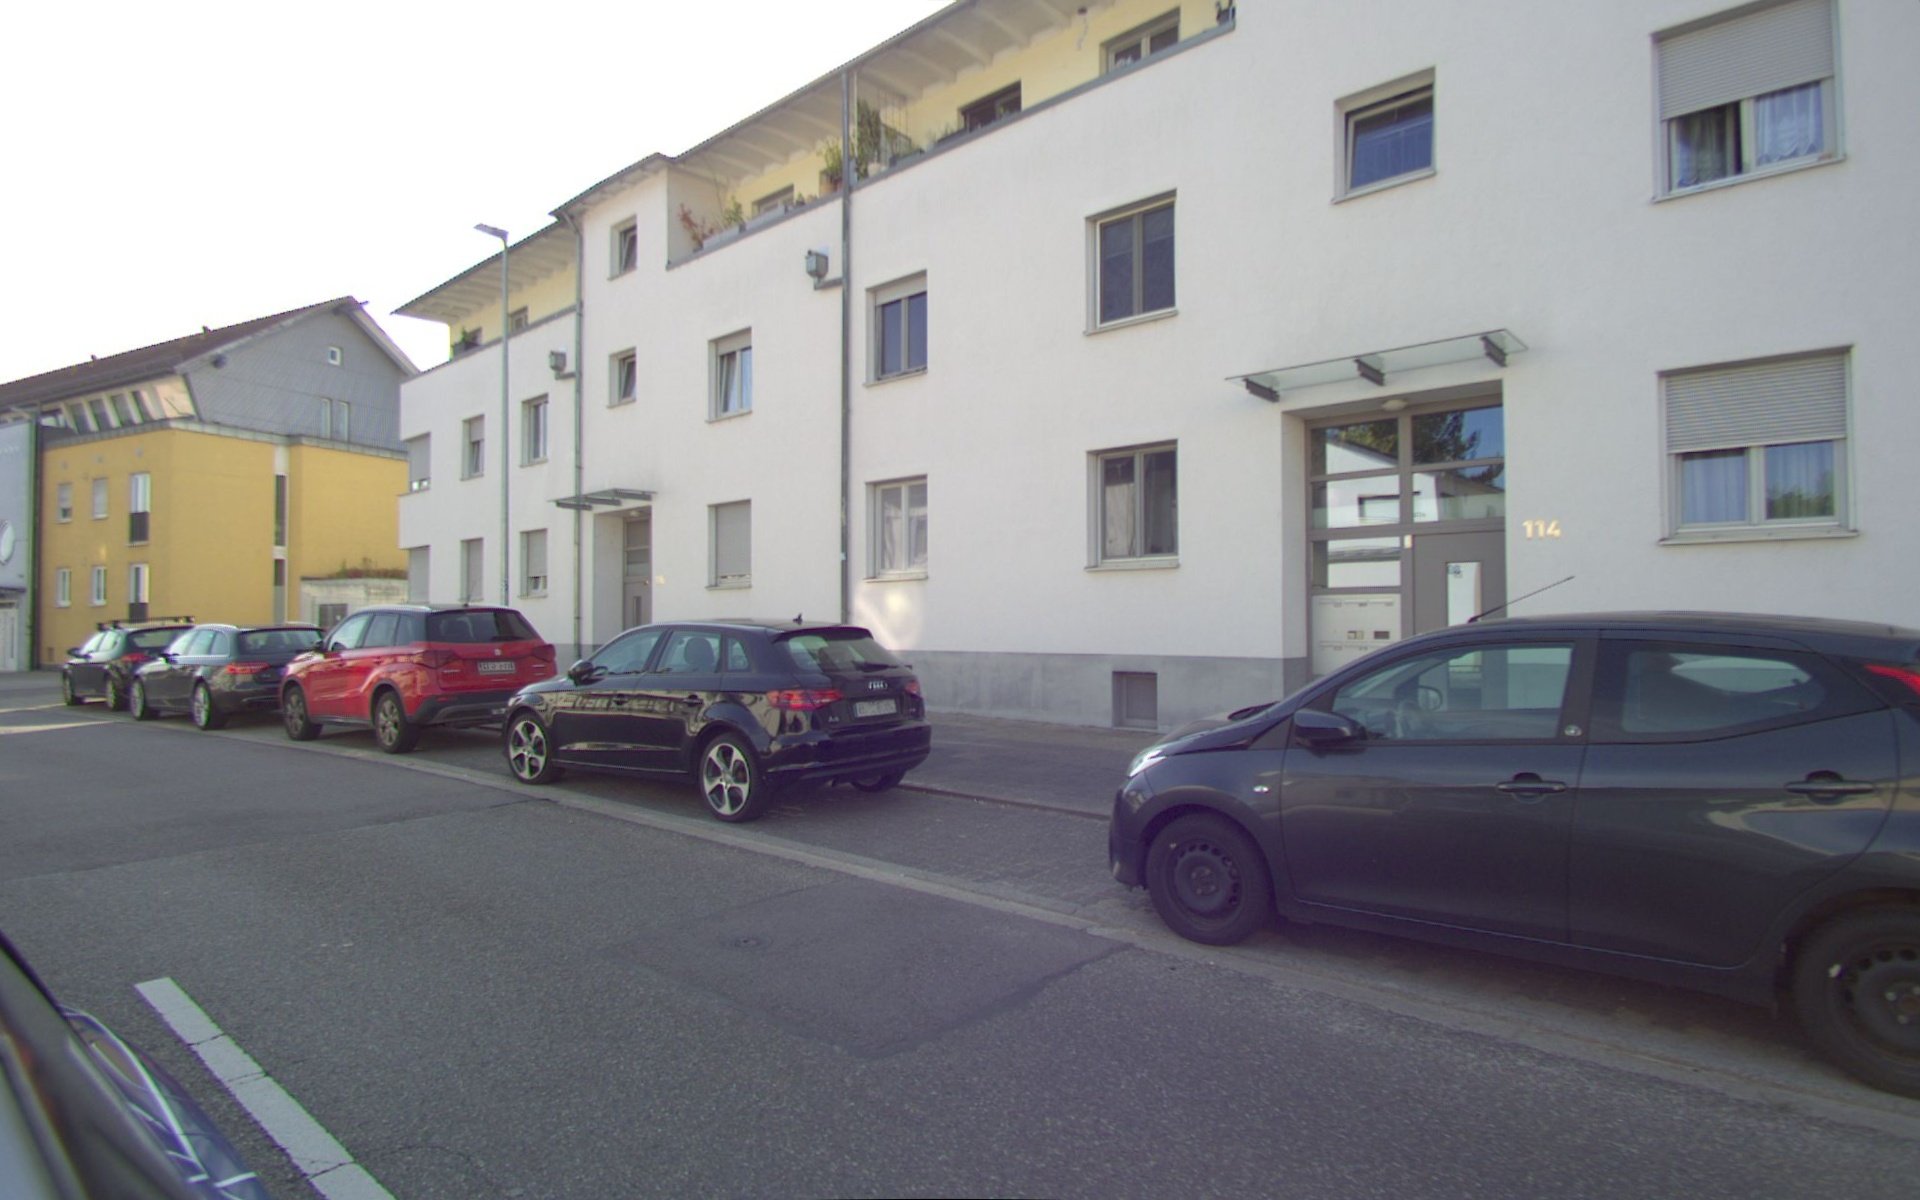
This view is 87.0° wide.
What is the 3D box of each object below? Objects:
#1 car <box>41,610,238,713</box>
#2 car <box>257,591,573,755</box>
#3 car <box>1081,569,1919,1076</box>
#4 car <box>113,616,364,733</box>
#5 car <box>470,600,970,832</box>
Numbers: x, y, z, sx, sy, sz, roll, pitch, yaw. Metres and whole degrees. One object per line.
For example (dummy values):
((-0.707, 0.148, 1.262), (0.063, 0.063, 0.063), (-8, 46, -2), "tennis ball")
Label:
((-15.095, 1.072, 18.561), (4.169, 1.634, 1.760), (-2, 0, 36), "car")
((-6.609, 0.806, 12.112), (4.256, 1.634, 1.711), (-2, -2, 37), "car")
((2.399, 0.669, 4.242), (3.510, 1.476, 1.478), (-2, -1, 40), "car")
((-10.872, 1.018, 15.143), (4.493, 1.489, 1.712), (-1, -1, 36), "car")
((-2.139, 0.798, 8.444), (4.254, 1.489, 1.712), (-2, -2, 36), "car")
